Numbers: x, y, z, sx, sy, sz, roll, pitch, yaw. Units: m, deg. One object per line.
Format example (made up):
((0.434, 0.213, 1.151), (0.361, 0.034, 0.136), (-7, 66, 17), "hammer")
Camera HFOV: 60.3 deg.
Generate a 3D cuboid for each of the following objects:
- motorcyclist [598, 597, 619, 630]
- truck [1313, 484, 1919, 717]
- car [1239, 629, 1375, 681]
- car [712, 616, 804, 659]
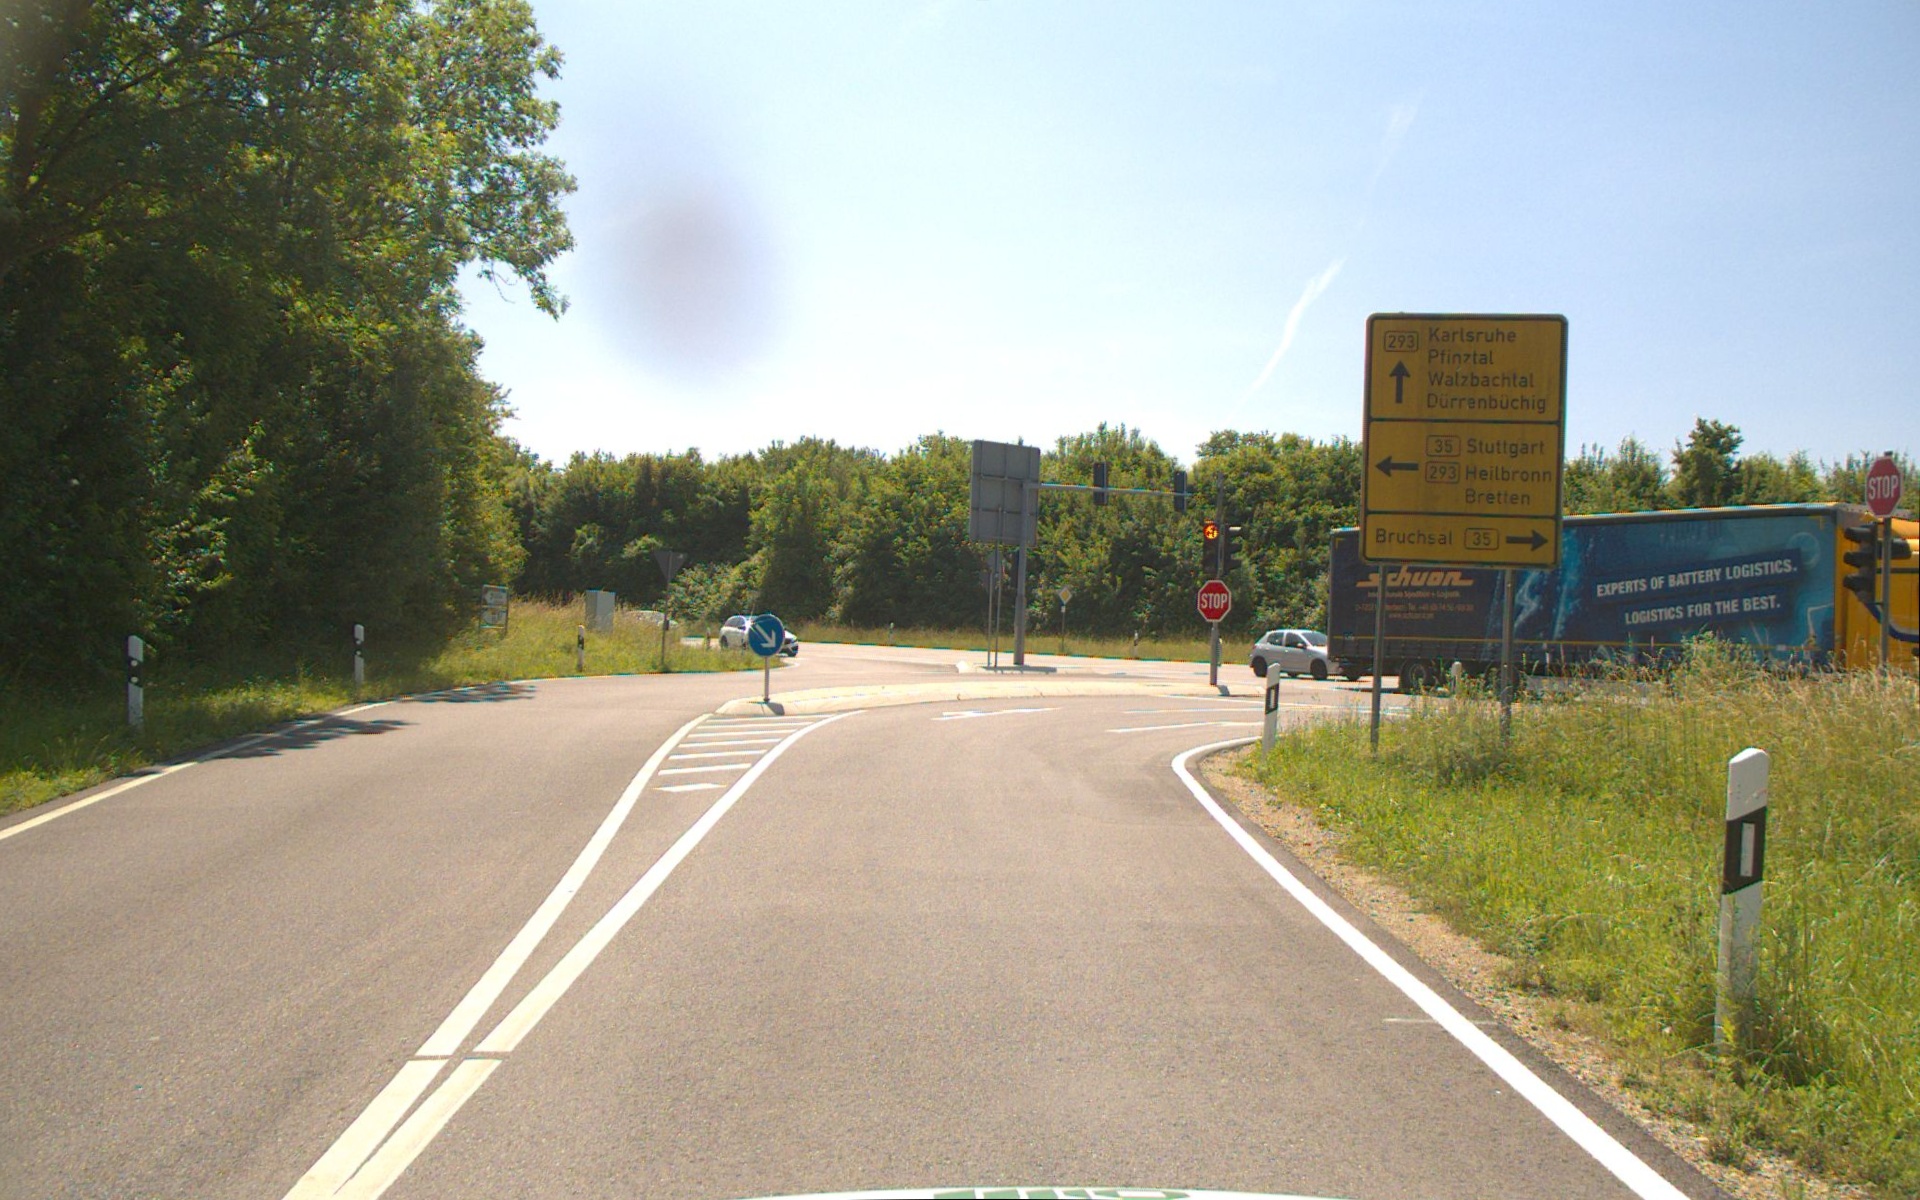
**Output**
((-20.061, 0.797, 94.471), (0.884, 1.875, 0.833), (-1, -1, 45), "motorcyclist")
((14.729, 0.002, 36.600), (2.815, 4.203, 16.629), (2, -1, -32), "truck")
((10.316, 1.614, 49.314), (1.799, 1.438, 3.733), (1, -1, -37), "car")
((-7.634, 1.383, 62.057), (1.782, 1.437, 5.290), (2, -1, -26), "car")
